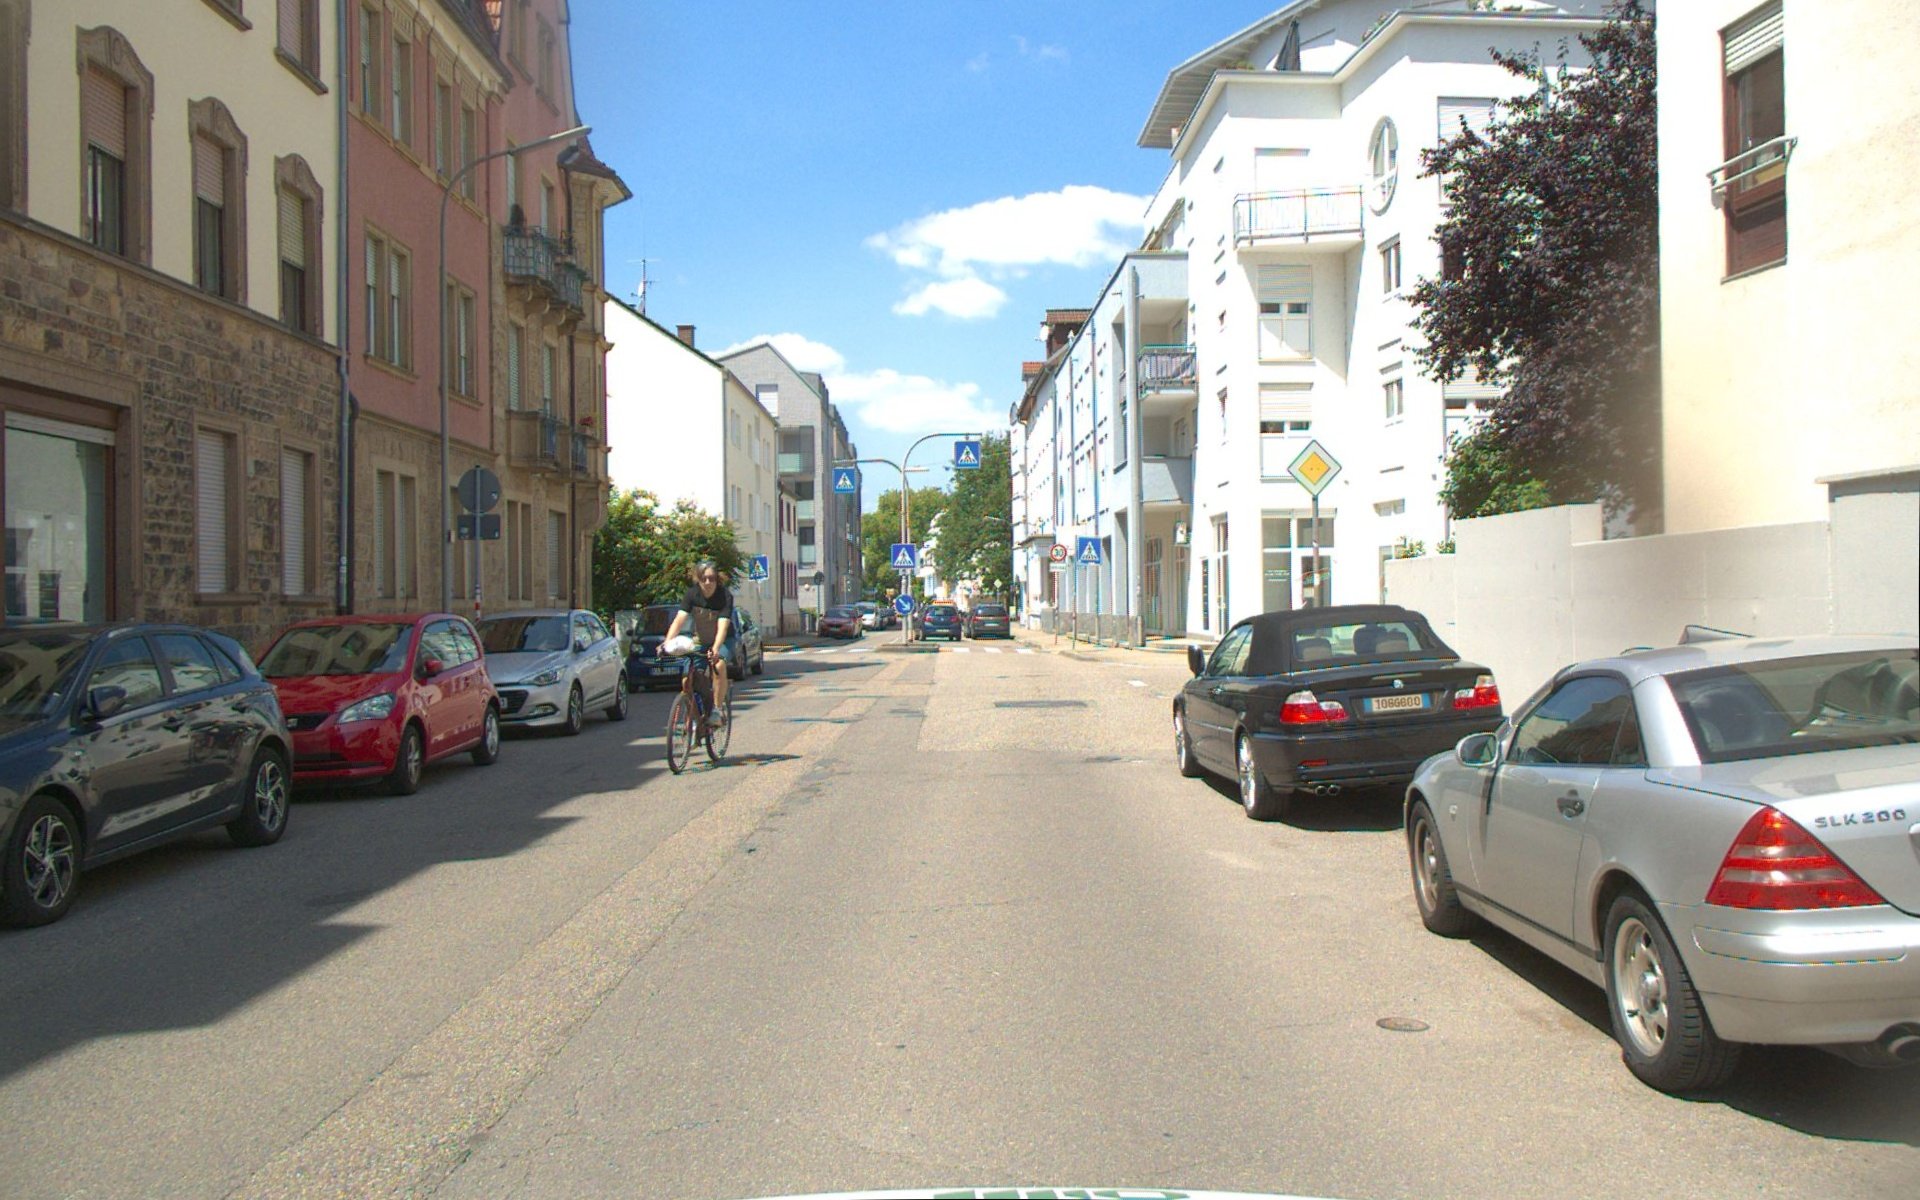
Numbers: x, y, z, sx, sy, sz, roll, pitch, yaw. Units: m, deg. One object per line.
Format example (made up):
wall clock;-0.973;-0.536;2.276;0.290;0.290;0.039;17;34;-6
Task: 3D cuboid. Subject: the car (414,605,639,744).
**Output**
car;-5.209;0.837;20.394;1.601;1.456;4.018;-2;0;1

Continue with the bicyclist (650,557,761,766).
bicyclist;-2.297;0.537;15.030;0.627;1.793;1.168;-3;0;7

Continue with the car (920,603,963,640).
car;-0.773;0.852;68.358;1.680;1.426;3.999;-1;0;-1

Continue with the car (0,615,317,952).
car;-5.264;0.857;9.139;1.834;1.463;4.217;-1;0;-1

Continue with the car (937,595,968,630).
car;-0.472;0.740;100.598;1.801;2.049;3.999;-1;0;-1

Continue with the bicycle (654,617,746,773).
bicycle;-2.346;0.826;15.094;0.223;1.297;1.884;-3;0;8

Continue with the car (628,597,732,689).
car;-5.022;0.752;29.936;1.407;1.549;2.695;-1;-1;-1

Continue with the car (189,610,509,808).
car;-5.217;0.853;14.584;1.566;1.467;3.494;-2;0;-1

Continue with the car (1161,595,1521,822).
car;2.674;0.687;12.595;1.623;1.400;4.237;-1;0;-2

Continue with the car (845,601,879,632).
car;-6.323;1.081;107.385;1.720;1.925;4.338;1;0;3

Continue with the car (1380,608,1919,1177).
car;2.873;0.767;6.203;1.553;1.377;3.822;-3;0;0

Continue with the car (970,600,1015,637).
car;1.384;0.794;72.295;1.675;1.534;3.997;-1;0;-3

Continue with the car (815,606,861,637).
car;-5.833;1.036;79.669;1.796;1.441;4.290;-1;0;1

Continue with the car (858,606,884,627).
car;-6.450;1.219;120.559;1.688;1.482;4.005;0;-1;0

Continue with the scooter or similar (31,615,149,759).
scooter or similar;-7.977;0.773;15.208;0.367;1.242;1.319;-1;0;0

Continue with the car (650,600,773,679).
car;-5.066;0.790;34.279;1.746;1.483;4.635;-1;0;1
